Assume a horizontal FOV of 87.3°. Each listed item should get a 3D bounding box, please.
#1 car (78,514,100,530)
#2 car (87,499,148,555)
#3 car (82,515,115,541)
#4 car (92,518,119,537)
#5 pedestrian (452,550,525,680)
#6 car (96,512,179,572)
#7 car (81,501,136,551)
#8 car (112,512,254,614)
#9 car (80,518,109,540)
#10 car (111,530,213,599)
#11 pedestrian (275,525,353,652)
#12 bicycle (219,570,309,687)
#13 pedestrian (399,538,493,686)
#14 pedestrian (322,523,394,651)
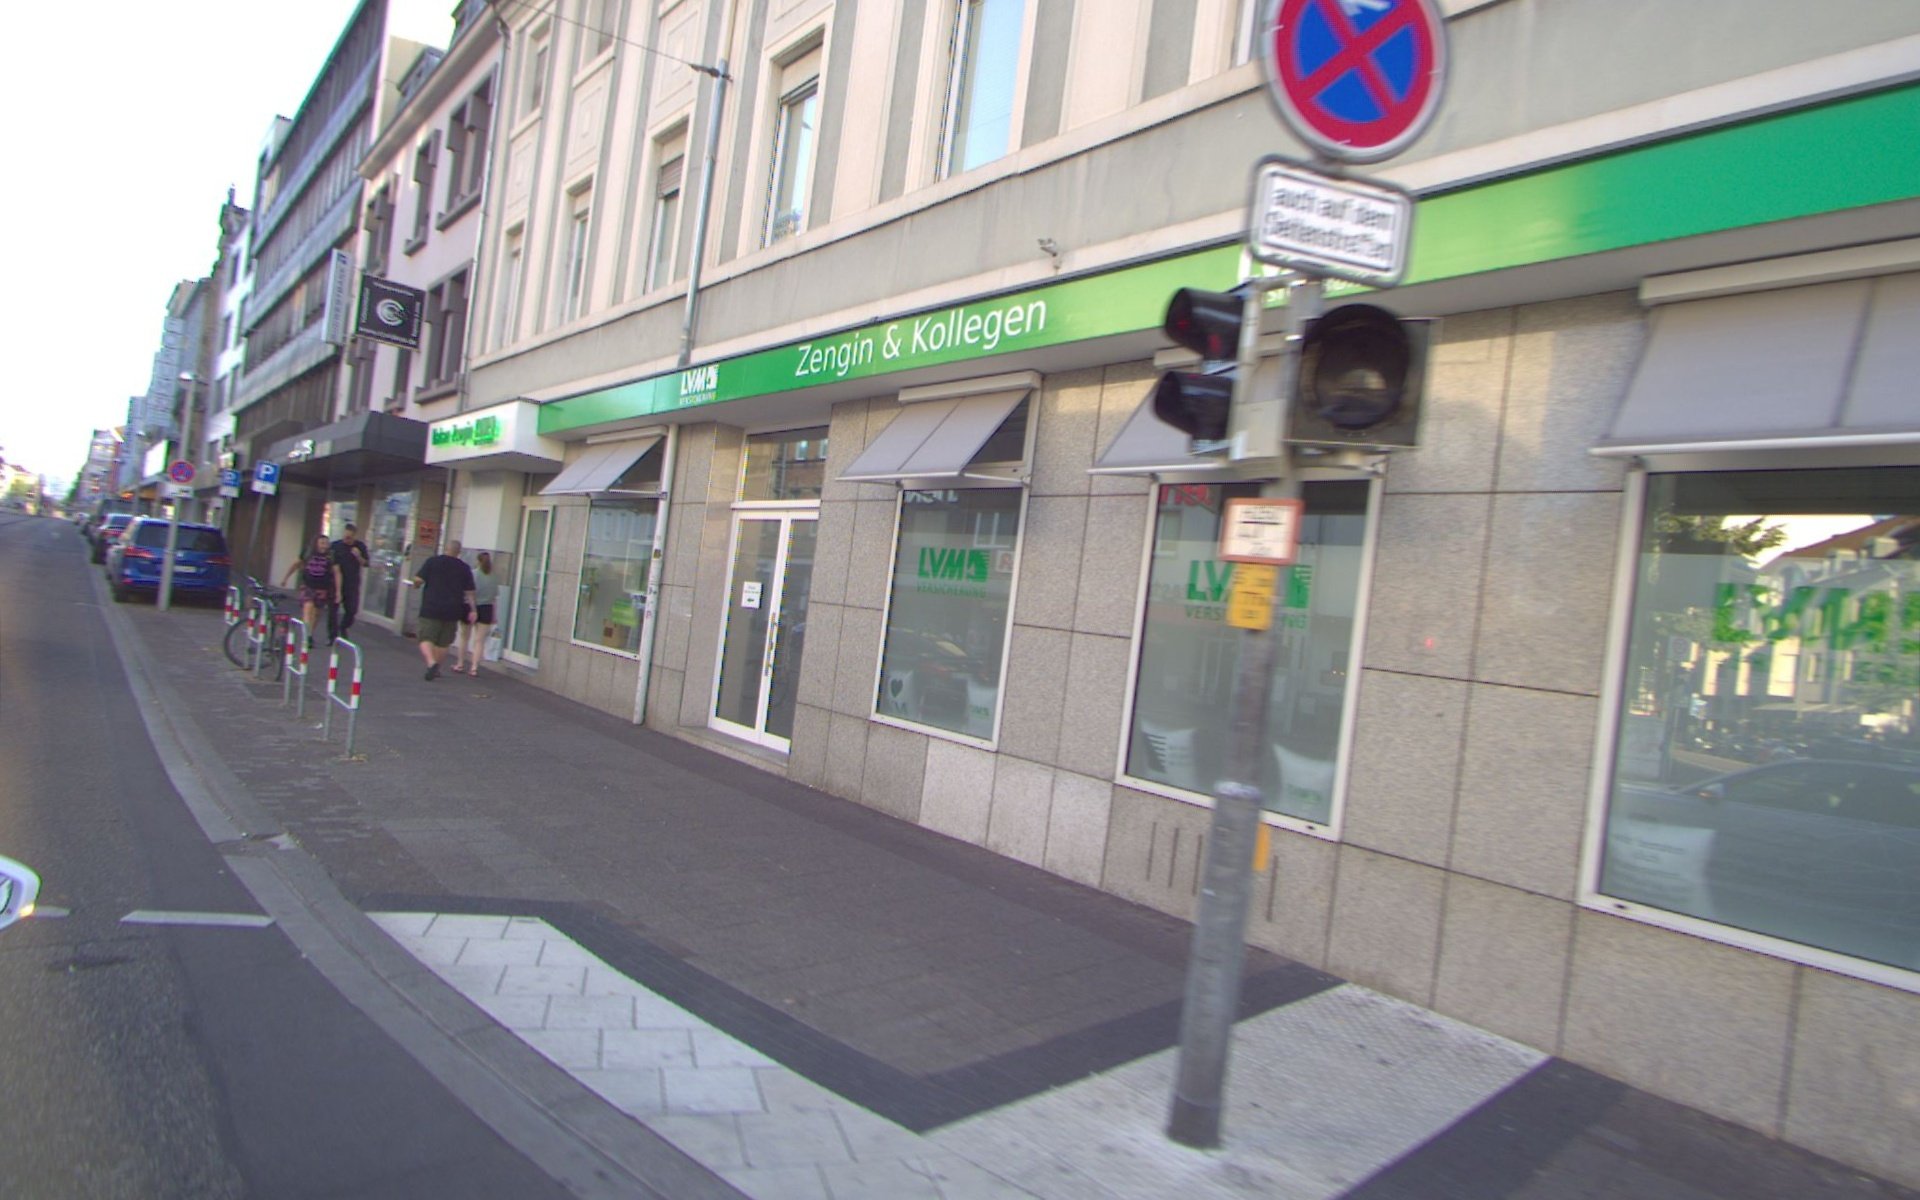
[{"bbox_3d":[-101.647,-9.057,117.435,1.769,1.566,3.463,9,-3,-42],"label":"car"},{"bbox_3d":[-43.469,-3.765,51.833,2.085,2.485,5.962,7,-1,-42],"label":"car"},{"bbox_3d":[-62.457,-5.227,72.944,1.649,1.556,3.840,7,-1,-42],"label":"car"},{"bbox_3d":[-86.896,-7.366,102.311,1.897,1.566,3.954,9,-3,-41],"label":"car"},{"bbox_3d":[-6.618,0.212,14.112,0.646,1.740,0.671,5,1,-41],"label":"pedestrian"},{"bbox_3d":[-28.544,-2.024,34.869,1.985,1.749,4.513,6,0,-41],"label":"car"},{"bbox_3d":[-48.068,-4.176,56.742,2.026,2.486,5.344,6,0,-43],"label":"car"},{"bbox_3d":[-16.673,-0.830,21.496,1.987,1.748,4.524,8,-2,-41],"label":"car"},{"bbox_3d":[-66.025,-5.436,76.752,1.553,1.460,3.666,5,0,-42],"label":"car"},{"bbox_3d":[-20.556,-0.942,25.855,1.788,1.451,3.842,6,0,-41],"label":"car"},{"bbox_3d":[-9.989,-0.175,15.552,0.735,1.851,0.840,6,0,-43],"label":"pedestrian"},{"bbox_3d":[-7.946,0.305,11.457,0.532,1.161,1.472,7,-1,-43],"label":"bicycle"},{"bbox_3d":[-6.715,0.150,13.143,0.763,1.828,0.917,6,0,-40],"label":"pedestrian"},{"bbox_3d":[-9.683,-0.207,16.167,0.659,1.951,0.868,6,0,-43],"label":"pedestrian"}]
